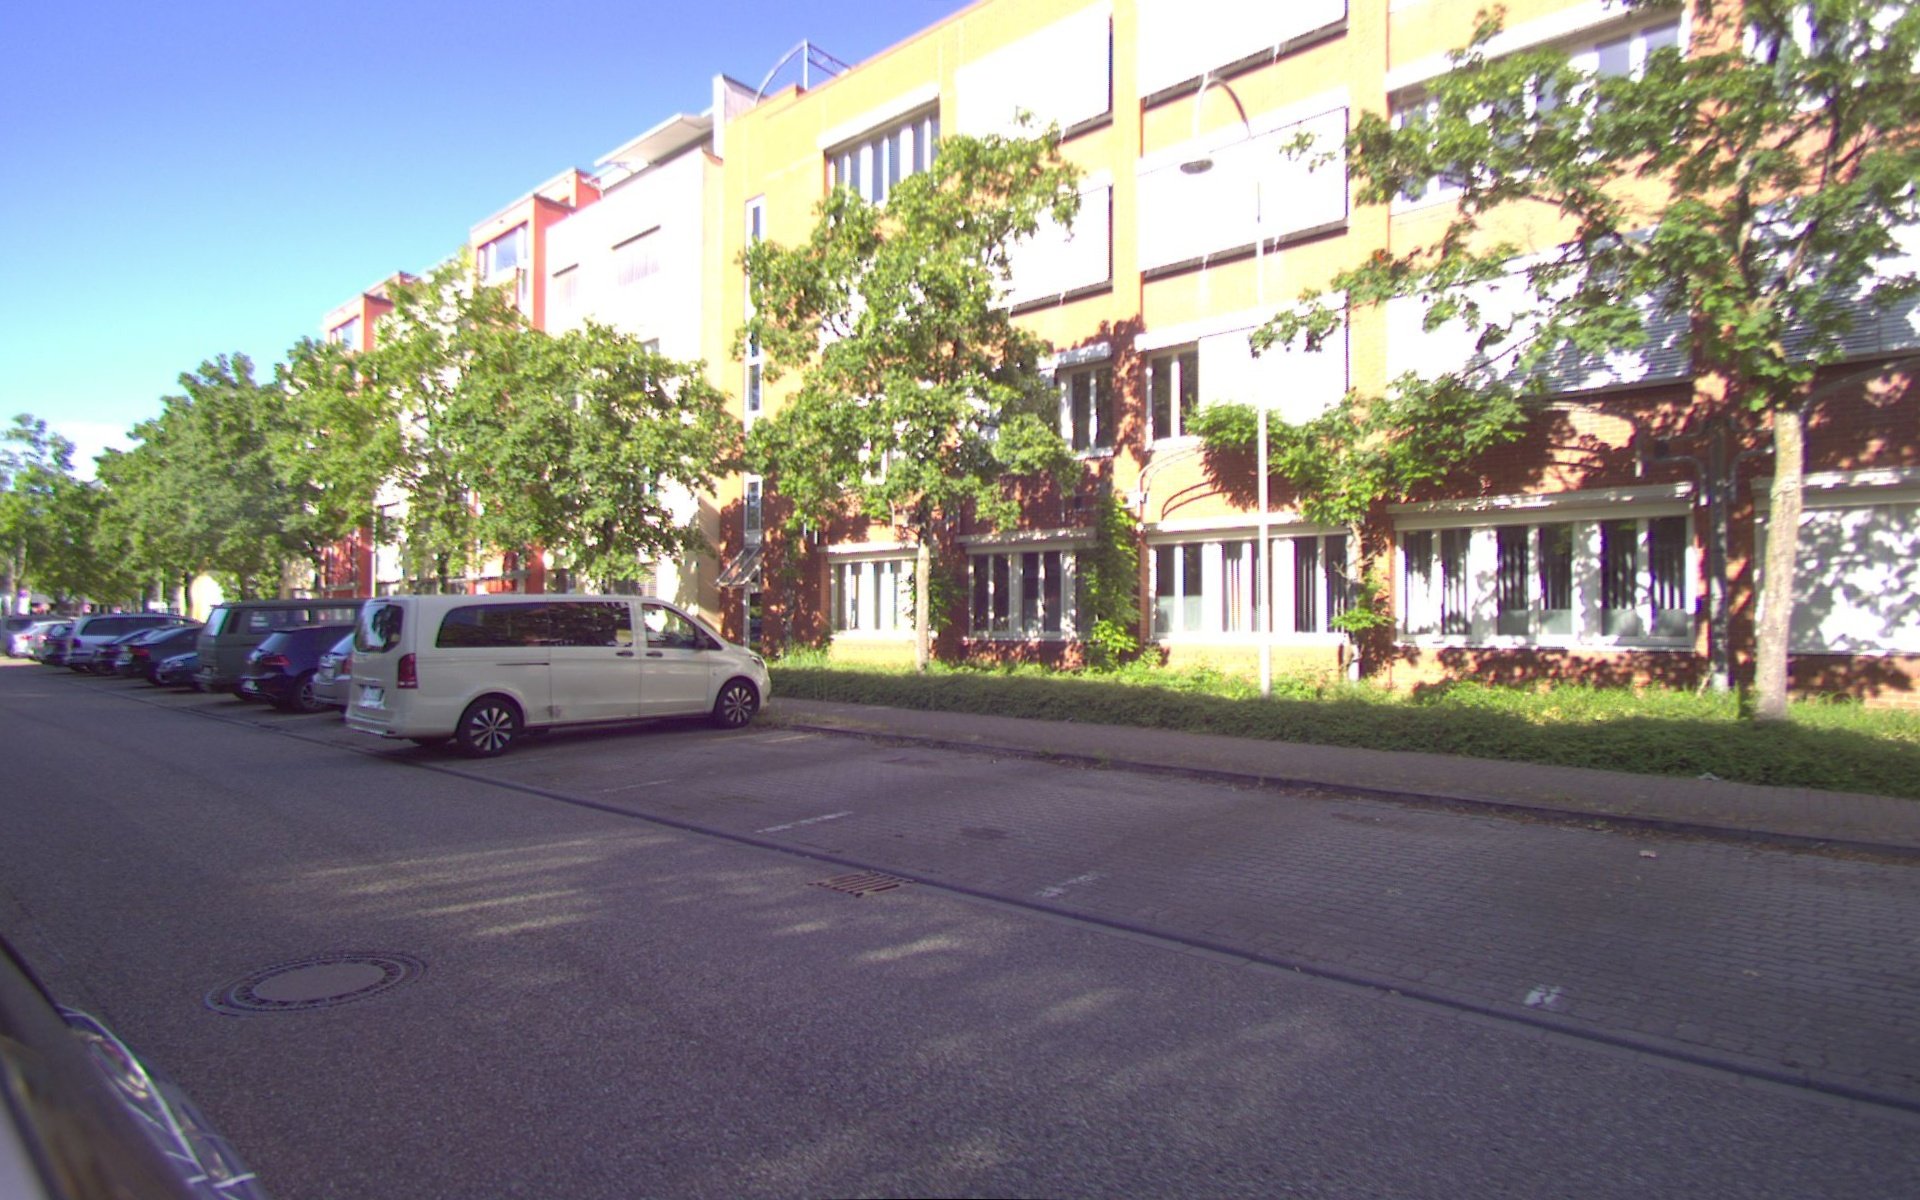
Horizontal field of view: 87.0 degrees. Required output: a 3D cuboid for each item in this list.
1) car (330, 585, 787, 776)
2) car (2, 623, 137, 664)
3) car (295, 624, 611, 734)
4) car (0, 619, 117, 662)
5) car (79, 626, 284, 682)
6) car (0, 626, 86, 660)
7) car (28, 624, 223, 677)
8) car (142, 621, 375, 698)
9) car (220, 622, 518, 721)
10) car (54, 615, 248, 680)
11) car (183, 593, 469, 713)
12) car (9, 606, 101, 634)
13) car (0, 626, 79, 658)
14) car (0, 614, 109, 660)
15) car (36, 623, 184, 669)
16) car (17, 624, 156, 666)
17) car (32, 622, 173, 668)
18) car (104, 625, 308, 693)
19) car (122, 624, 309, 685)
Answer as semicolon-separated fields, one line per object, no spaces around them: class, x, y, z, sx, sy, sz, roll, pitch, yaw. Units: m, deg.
car;-4.928;0.854;13.133;1.942;1.982;5.201;-2;-1;42
car;-34.810;1.682;39.636;1.873;1.458;3.691;-1;-1;37
car;-8.219;1.181;16.684;1.943;1.489;4.273;-2;-1;43
car;-36.982;1.620;41.250;1.860;1.586;3.849;-2;-1;43
car;-21.656;1.457;28.293;1.756;1.369;4.277;-1;-1;40
car;-42.462;1.945;46.076;1.738;1.434;3.851;-2;-1;41
car;-25.443;1.486;30.970;1.771;1.438;4.359;-1;-1;39
car;-15.947;1.279;23.162;1.724;1.539;4.089;-2;-1;41
car;-10.486;1.173;18.186;1.943;1.489;4.273;-2;-1;43
car;-23.632;1.325;29.654;4.270;1.730;1.964;0;-1;-44
car;-12.447;0.943;20.065;2.083;2.106;4.439;-2;-1;43
car;-66.675;1.496;74.642;1.983;2.000;4.743;-1;-2;17
car;-45.783;2.047;49.313;1.740;1.434;4.214;-2;-1;44
car;-38.768;1.556;42.956;1.785;1.825;3.851;-2;-1;41
car;-29.279;1.542;34.930;1.839;1.438;3.688;-1;-1;40
car;-32.925;1.658;38.210;1.857;1.458;3.691;-1;-1;37
car;-31.079;1.587;36.748;1.858;1.520;3.688;-1;-1;40
car;-18.177;1.375;24.511;1.724;1.438;3.687;-2;-1;41
car;-19.559;1.381;26.701;1.724;1.438;3.688;-1;-1;40
